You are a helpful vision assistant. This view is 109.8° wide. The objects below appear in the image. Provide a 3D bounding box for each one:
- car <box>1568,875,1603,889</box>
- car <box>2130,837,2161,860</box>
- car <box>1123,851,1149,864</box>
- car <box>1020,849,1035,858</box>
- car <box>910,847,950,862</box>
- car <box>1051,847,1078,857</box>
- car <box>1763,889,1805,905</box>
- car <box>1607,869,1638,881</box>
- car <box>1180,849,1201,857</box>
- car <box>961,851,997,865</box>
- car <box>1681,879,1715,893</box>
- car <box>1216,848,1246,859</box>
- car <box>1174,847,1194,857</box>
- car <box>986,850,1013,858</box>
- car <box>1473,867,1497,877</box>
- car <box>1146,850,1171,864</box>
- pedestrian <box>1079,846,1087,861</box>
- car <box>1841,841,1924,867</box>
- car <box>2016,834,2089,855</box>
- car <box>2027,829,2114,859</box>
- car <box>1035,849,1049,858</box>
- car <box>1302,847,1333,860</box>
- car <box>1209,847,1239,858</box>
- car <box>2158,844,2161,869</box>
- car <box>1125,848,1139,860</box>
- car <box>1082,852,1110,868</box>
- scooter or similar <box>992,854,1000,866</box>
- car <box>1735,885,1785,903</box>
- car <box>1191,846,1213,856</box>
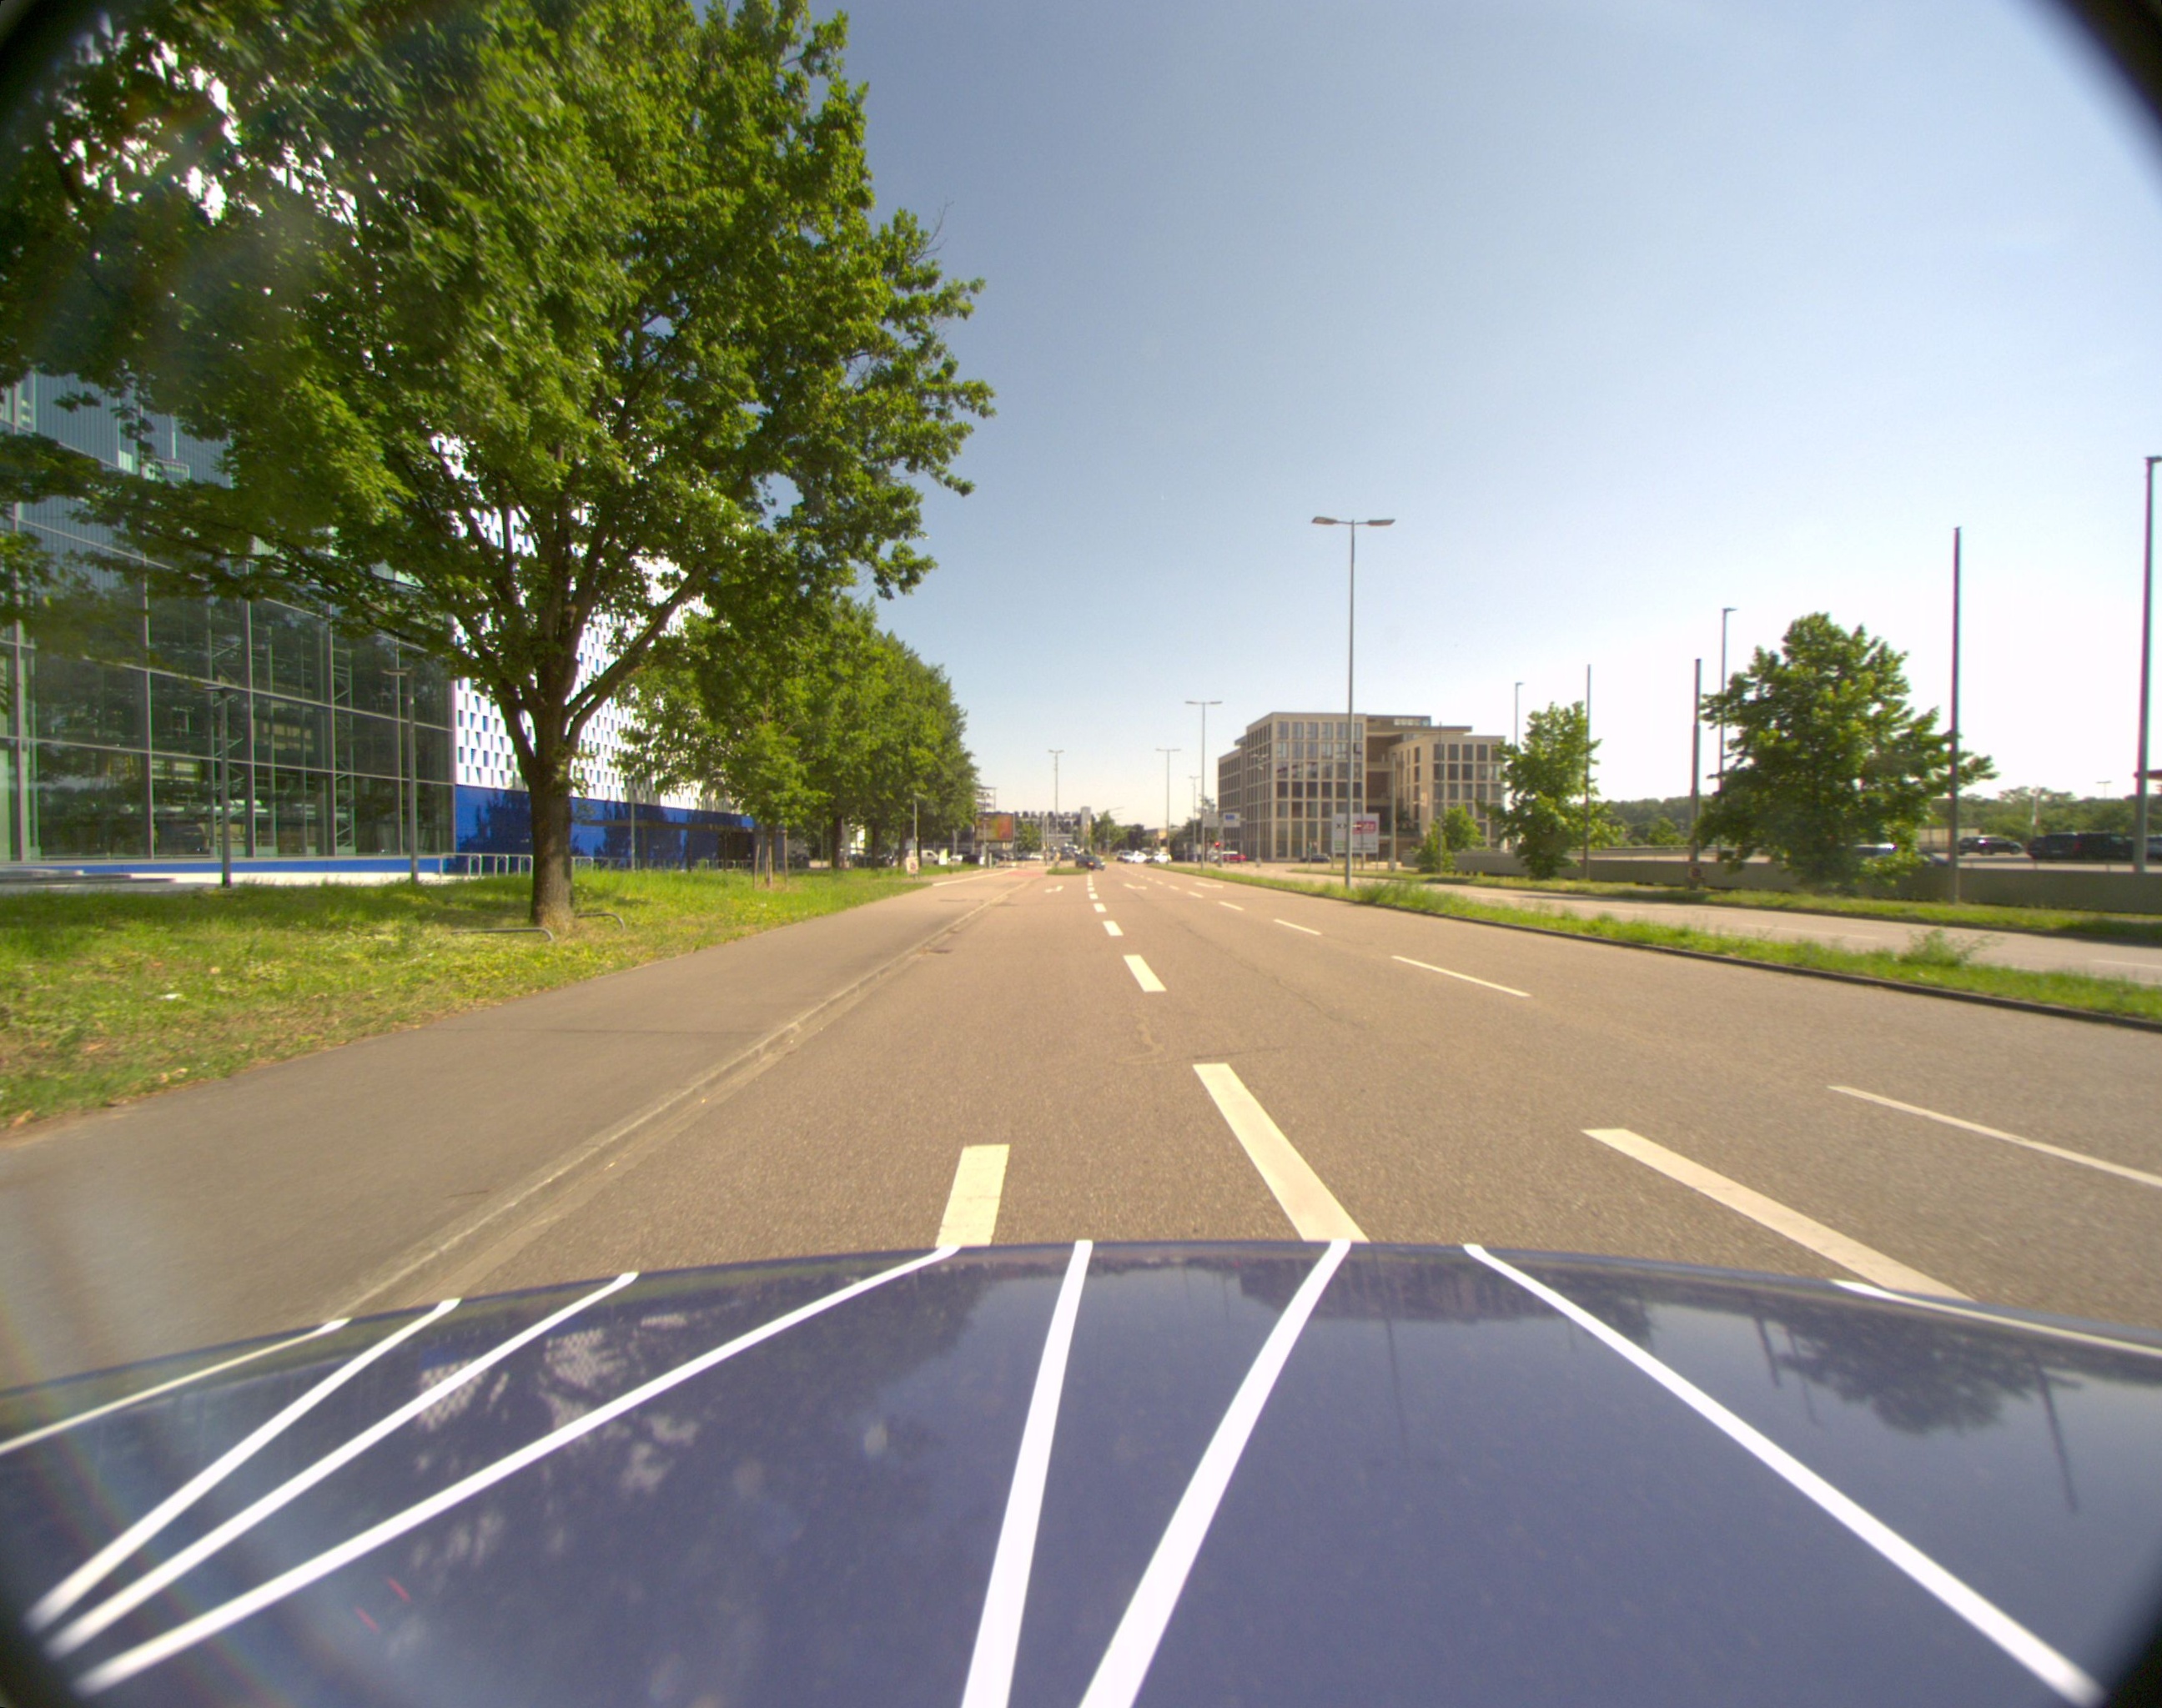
[{"bbox_3d":[38.575,2.116,58.112,1.942,0.970,1.070,0,2,-4],"label":"car"},{"bbox_3d":[65.191,-0.354,45.385,3.096,1.322,1.515,0,2,-3],"label":"car"},{"bbox_3d":[7.945,0.445,109.855,1.829,1.703,3.773,2,2,44],"label":"car"},{"bbox_3d":[-8.870,-0.039,125.359,1.998,1.452,4.001,0,0,3],"label":"car"},{"bbox_3d":[-20.320,0.098,102.243,4.998,1.996,1.740,0,2,-3],"label":"car"},{"bbox_3d":[-2.817,-0.371,128.931,4.479,1.578,1.979,0,1,-1],"label":"car"},{"bbox_3d":[47.466,2.869,51.315,1.943,0.970,1.070,0,2,-6],"label":"car"},{"bbox_3d":[46.700,1.772,65.514,1.942,0.970,1.070,0,2,-4],"label":"car"},{"bbox_3d":[22.525,-0.201,156.229,3.991,1.605,2.003,1,1,19],"label":"car"},{"bbox_3d":[-13.308,0.483,99.167,4.501,1.618,1.714,-1,2,-3],"label":"car"},{"bbox_3d":[47.144,2.430,58.058,1.942,0.970,0.910,0,2,-4],"label":"car"},{"bbox_3d":[22.393,-0.076,113.391,4.118,1.519,1.530,0,1,-4],"label":"car"},{"bbox_3d":[21.558,-0.449,159.036,3.991,2.002,2.003,1,1,19],"label":"car"},{"bbox_3d":[-13.539,0.030,126.017,4.350,1.342,1.821,0,1,-4],"label":"car"},{"bbox_3d":[38.569,1.711,72.602,1.847,0.970,0.866,0,2,-4],"label":"car"},{"bbox_3d":[11.036,0.431,107.881,2.021,1.827,4.319,1,2,29],"label":"car"},{"bbox_3d":[0.252,-0.085,92.148,0.704,1.769,0.961,1,1,23],"label":"pedestrian"},{"bbox_3d":[34.341,-0.016,32.567,2.520,1.054,1.070,0,2,-4],"label":"car"},{"bbox_3d":[64.913,-0.646,50.796,3.019,1.322,1.515,0,2,-3],"label":"car"},{"bbox_3d":[59.381,-0.593,45.646,3.096,1.748,1.691,0,2,-3],"label":"car"},{"bbox_3d":[-6.422,-0.067,125.604,1.887,1.452,4.000,0,2,3],"label":"car"},{"bbox_3d":[36.417,-0.073,117.118,4.241,1.878,1.834,0,2,-1],"label":"car"},{"bbox_3d":[22.016,-0.253,116.985,4.229,1.701,1.903,0,1,-4],"label":"car"},{"bbox_3d":[59.545,0.158,40.164,3.096,1.322,1.515,0,2,-2],"label":"car"},{"bbox_3d":[8.877,-0.024,131.842,2.184,1.898,4.732,0,1,7],"label":"car"},{"bbox_3d":[1.430,0.562,73.763,1.772,1.456,4.234,1,1,-11],"label":"car"},{"bbox_3d":[-8.334,0.598,74.644,0.402,1.160,1.185,0,2,15],"label":"scooter or similar"},{"bbox_3d":[39.224,2.305,43.910,1.942,0.970,1.070,0,2,-4],"label":"car"},{"bbox_3d":[23.808,-0.608,149.297,3.991,2.002,2.003,1,1,19],"label":"car"}]
